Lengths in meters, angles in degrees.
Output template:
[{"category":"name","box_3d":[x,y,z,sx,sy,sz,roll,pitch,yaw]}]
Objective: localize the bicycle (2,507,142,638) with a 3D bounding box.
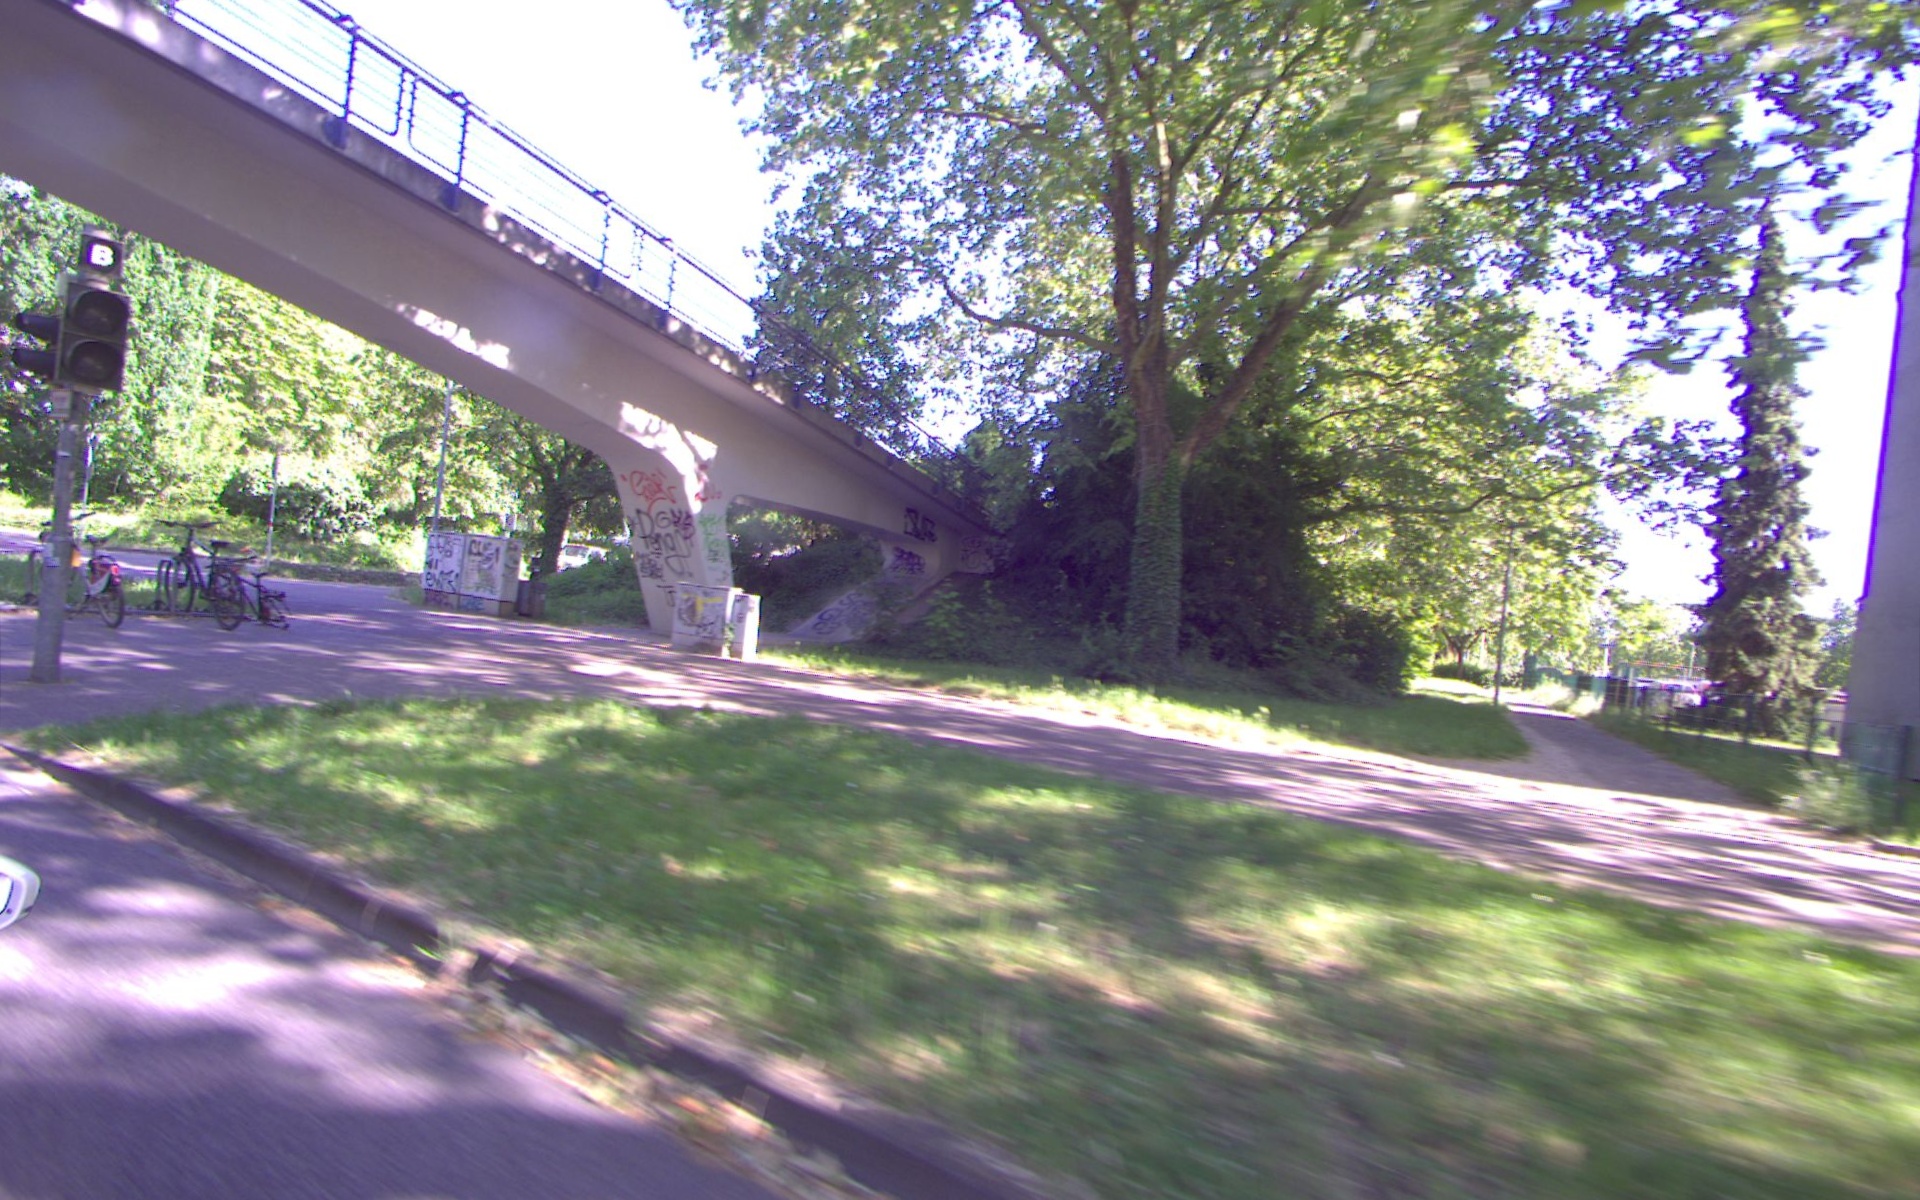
[{"category":"bicycle","box_3d":[-9.569,-0.310,10.821,1.770,1.199,0.590,8,4,31]}]

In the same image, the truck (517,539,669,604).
[{"category":"truck","box_3d":[-15.990,-1.170,44.342,2.082,2.119,6.644,6,-1,24]}]

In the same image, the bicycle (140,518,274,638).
[{"category":"bicycle","box_3d":[-8.870,-0.269,11.833,1.770,1.199,0.590,8,4,31]}]

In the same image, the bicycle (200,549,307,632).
[{"category":"bicycle","box_3d":[-8.785,-0.126,12.493,1.448,0.864,0.505,8,4,31]}]
